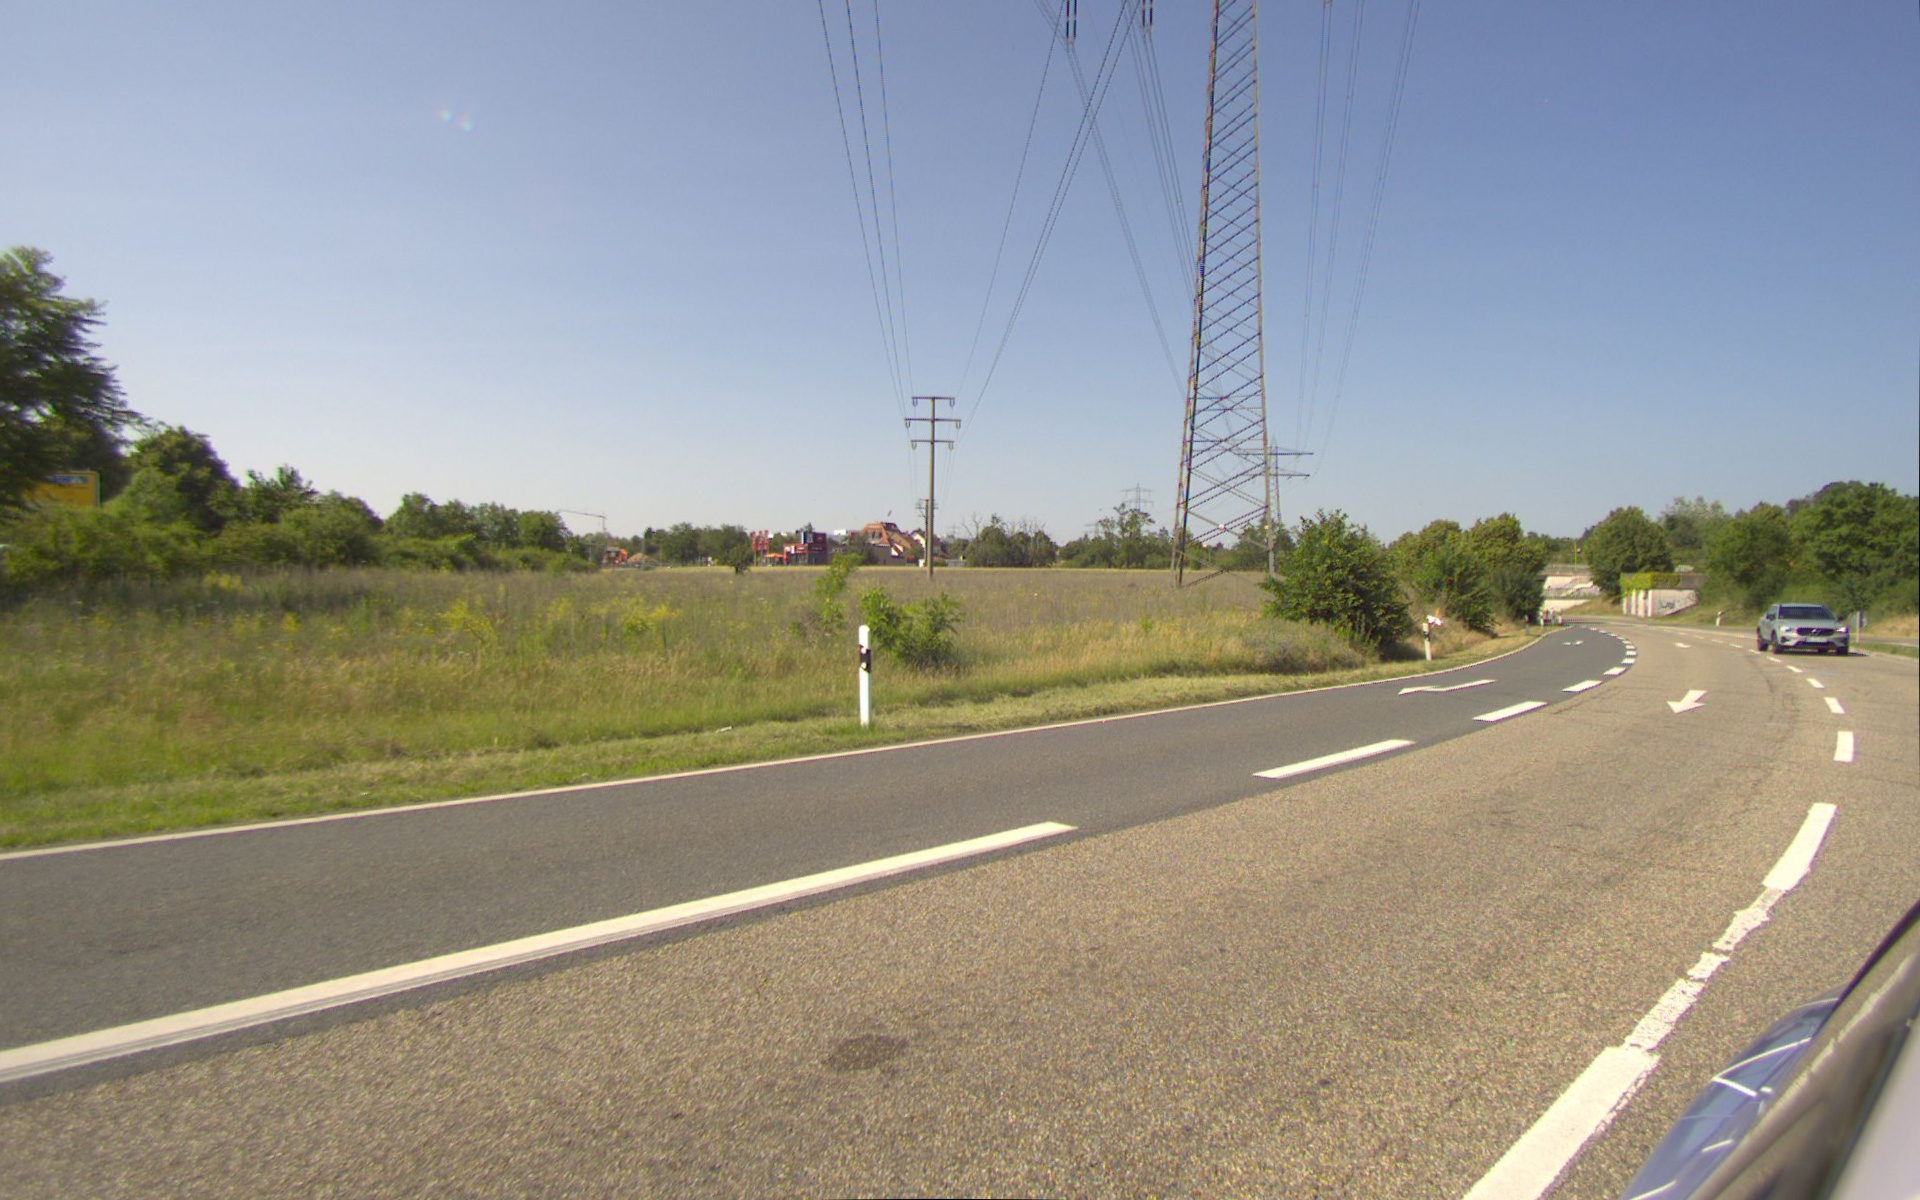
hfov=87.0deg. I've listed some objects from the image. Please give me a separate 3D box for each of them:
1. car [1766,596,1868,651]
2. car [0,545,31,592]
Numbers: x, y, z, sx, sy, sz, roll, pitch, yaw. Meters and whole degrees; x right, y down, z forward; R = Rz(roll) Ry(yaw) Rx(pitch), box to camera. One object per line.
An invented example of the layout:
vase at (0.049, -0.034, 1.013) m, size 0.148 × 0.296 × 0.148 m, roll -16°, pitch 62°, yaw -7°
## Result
car at (27.668, 0.719, 32.795) m, size 1.845 × 1.640 × 3.609 m, roll 0°, pitch 0°, yaw 29°
car at (-52.520, -1.700, 54.834) m, size 1.431 × 2.467 × 3.913 m, roll 0°, pitch 0°, yaw -12°
